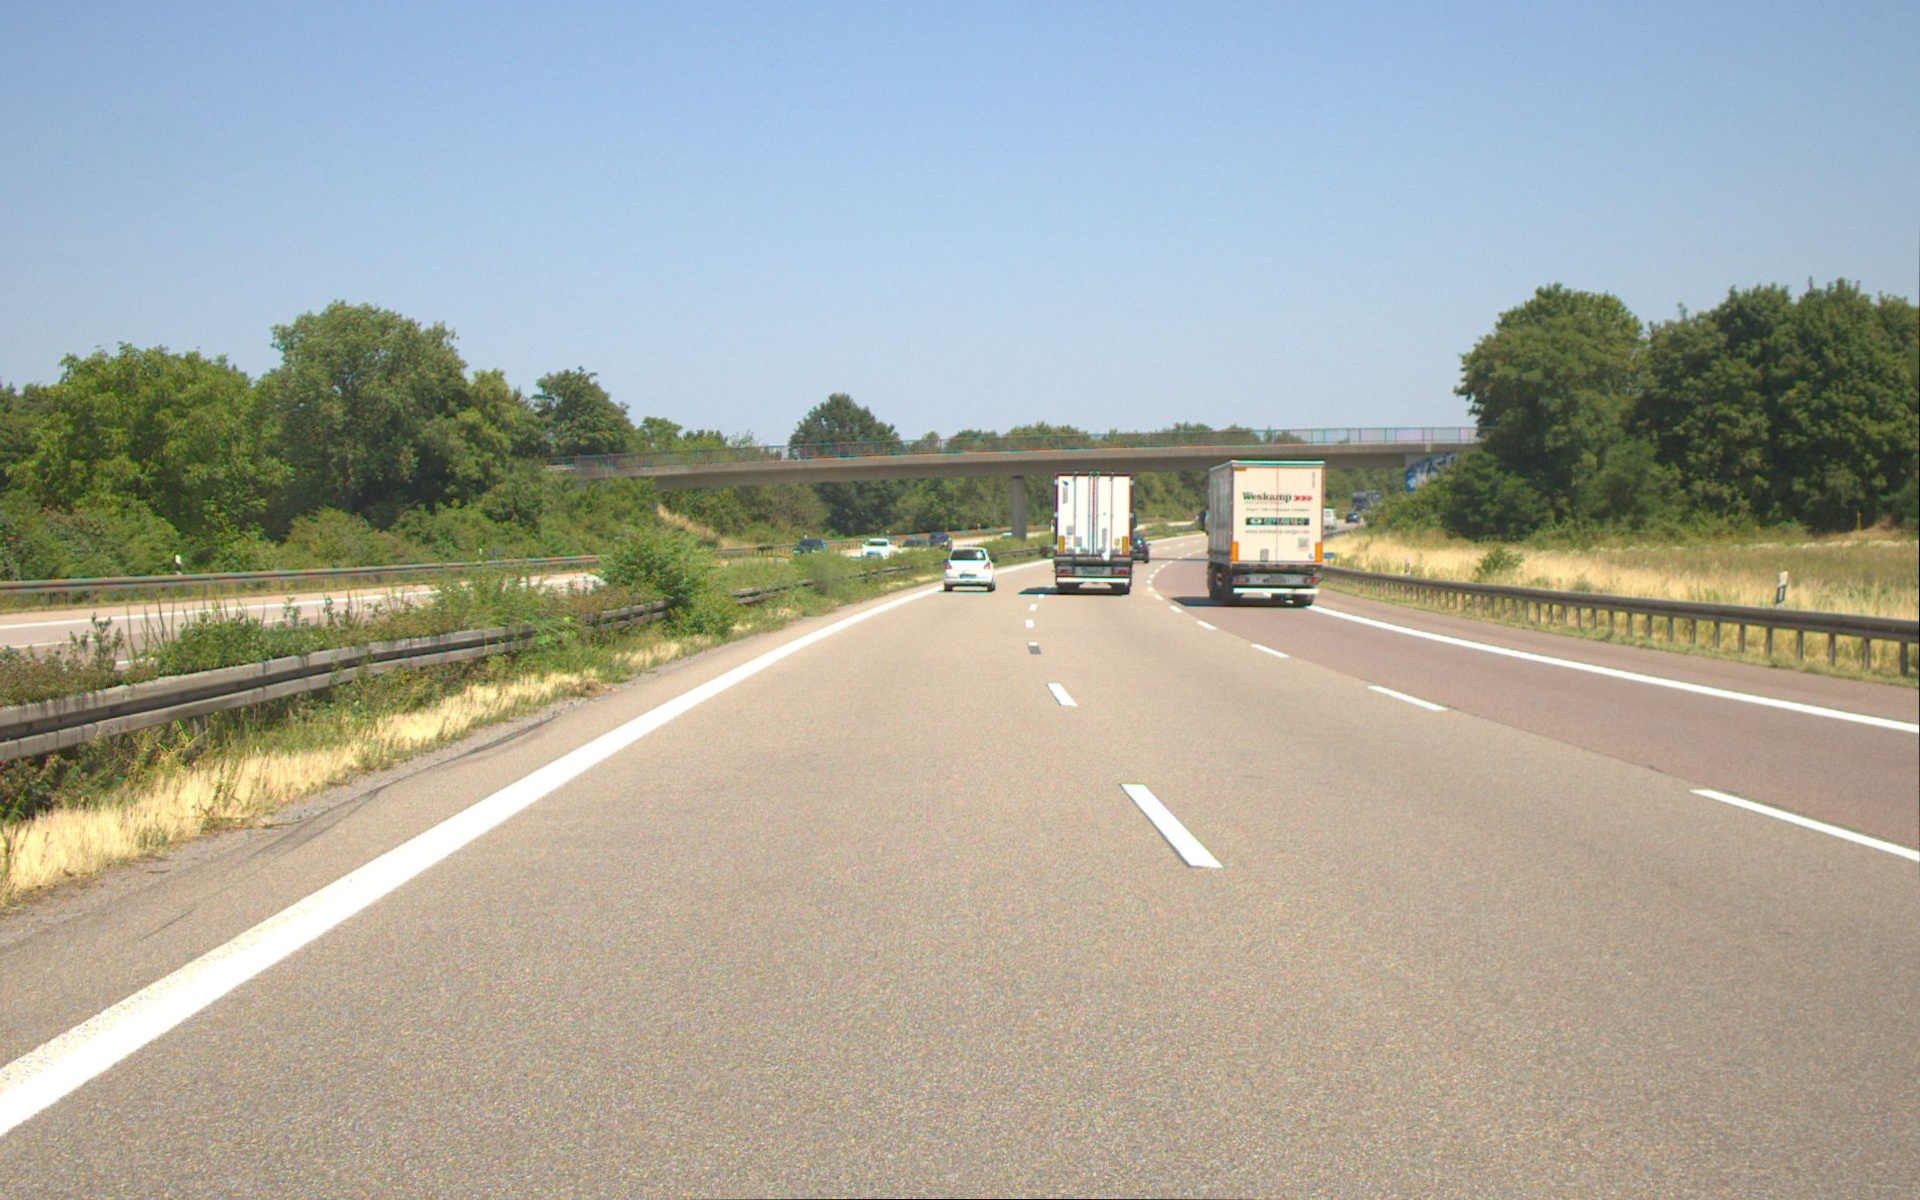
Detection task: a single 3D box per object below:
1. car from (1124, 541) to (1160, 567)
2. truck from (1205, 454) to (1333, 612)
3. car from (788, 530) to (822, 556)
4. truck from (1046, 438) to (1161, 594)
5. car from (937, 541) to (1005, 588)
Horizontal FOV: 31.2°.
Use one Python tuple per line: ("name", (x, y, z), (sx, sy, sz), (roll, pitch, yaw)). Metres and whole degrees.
("car", (11.161, -2.808, 210.632), (1.828, 1.542, 4.318), (1, 1, 7))
("truck", (9.000, -2.065, 101.821), (3.181, 4.289, 16.017), (1, 2, 3))
("car", (-9.713, -3.576, 215.238), (1.782, 1.655, 4.657), (0, 1, 1))
("truck", (5.002, -2.967, 119.050), (3.666, 5.001, 16.017), (1, 2, 3))
("car", (0.404, -1.250, 118.488), (1.828, 1.542, 4.318), (1, 1, 7))
